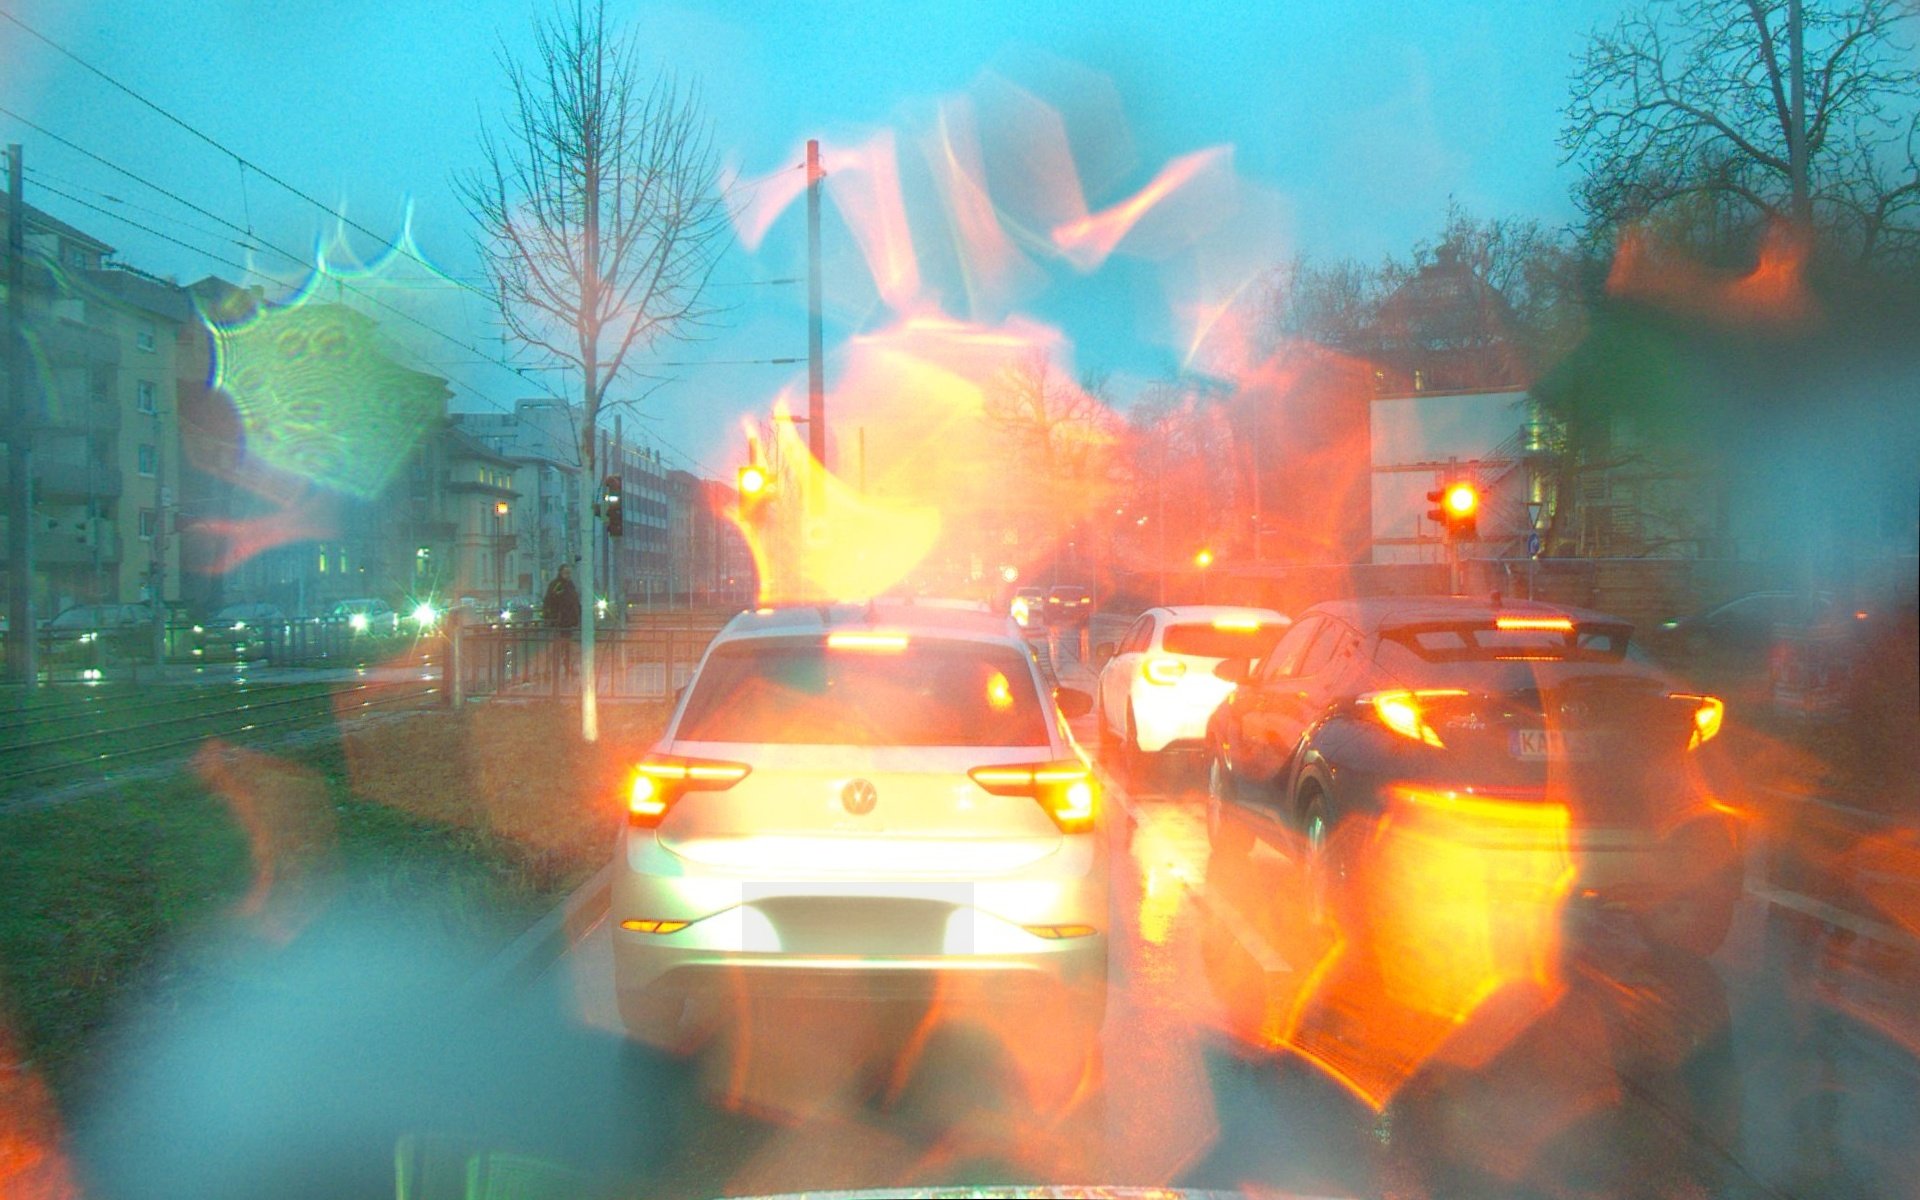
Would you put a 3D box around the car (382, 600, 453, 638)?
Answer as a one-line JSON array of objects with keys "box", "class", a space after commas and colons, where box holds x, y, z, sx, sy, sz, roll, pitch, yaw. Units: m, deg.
[{"box": [-24.891, 0.854, 76.011, 1.910, 1.630, 4.000, 1, 0, 0], "class": "car"}]

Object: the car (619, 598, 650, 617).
[{"box": [-28.662, 0.673, 145.554, 1.910, 1.630, 4.000, 1, 0, 0], "class": "car"}]

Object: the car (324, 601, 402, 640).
[{"box": [-21.052, 0.713, 58.475, 1.658, 1.300, 4.142, -1, 0, -7], "class": "car"}]

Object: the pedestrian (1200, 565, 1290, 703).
[{"box": [4.327, 0.499, 25.182, 0.946, 2.049, 1.000, -1, 0, -23], "class": "pedestrian"}]

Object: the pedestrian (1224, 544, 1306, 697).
[{"box": [4.199, 0.270, 22.833, 0.939, 2.049, 1.008, -1, 0, 2], "class": "pedestrian"}]

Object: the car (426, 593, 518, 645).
[{"box": [-16.169, 0.596, 55.002, 1.953, 1.630, 3.999, 1, 0, -2], "class": "car"}]

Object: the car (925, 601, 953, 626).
[{"box": [-1.349, 0.851, 105.230, 1.702, 1.444, 4.393, -1, 1, -1], "class": "car"}]

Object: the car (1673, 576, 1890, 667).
[{"box": [18.958, 0.475, 38.387, 4.181, 1.977, 2.001, 1, 0, 16], "class": "car"}]

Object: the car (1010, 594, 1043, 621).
[{"box": [3.807, 0.401, 94.842, 1.702, 1.444, 3.703, -1, 1, -1], "class": "car"}]

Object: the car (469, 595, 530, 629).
[{"box": [-22.864, 0.590, 82.241, 1.910, 1.630, 4.000, 1, 0, 0], "class": "car"}]

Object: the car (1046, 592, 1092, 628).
[{"box": [4.710, 0.408, 71.657, 1.702, 1.444, 3.703, -1, 1, -1], "class": "car"}]

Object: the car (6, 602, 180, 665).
[{"box": [-20.274, 0.744, 38.892, 1.821, 1.355, 4.314, 1, 0, -1], "class": "car"}]

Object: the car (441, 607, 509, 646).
[{"box": [-21.200, 1.149, 72.401, 1.829, 1.604, 3.999, -1, 0, -1], "class": "car"}]

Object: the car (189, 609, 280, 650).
[{"box": [-24.208, 0.966, 55.285, 1.657, 1.300, 3.533, -1, 0, -4], "class": "car"}]

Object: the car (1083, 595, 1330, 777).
[{"box": [2.163, 0.704, 15.445, 1.710, 1.458, 3.731, 1, 0, 0], "class": "car"}]

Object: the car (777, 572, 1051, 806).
[{"box": [-0.322, 0.558, 13.074, 1.762, 1.492, 4.585, -1, 1, -1], "class": "car"}]

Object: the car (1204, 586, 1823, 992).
[{"box": [2.416, 0.715, 8.298, 1.763, 1.537, 3.895, -1, 0, -1], "class": "car"}]

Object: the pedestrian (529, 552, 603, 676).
[{"box": [-6.666, 0.218, 27.981, 0.993, 2.049, 0.953, -1, 0, -29], "class": "pedestrian"}]

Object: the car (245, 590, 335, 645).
[{"box": [-26.542, 0.669, 65.651, 1.953, 2.049, 3.999, 1, 0, -1], "class": "car"}]

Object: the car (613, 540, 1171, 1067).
[{"box": [-0.324, 0.590, 6.951, 1.659, 1.560, 3.997, 1, 0, -4], "class": "car"}]
